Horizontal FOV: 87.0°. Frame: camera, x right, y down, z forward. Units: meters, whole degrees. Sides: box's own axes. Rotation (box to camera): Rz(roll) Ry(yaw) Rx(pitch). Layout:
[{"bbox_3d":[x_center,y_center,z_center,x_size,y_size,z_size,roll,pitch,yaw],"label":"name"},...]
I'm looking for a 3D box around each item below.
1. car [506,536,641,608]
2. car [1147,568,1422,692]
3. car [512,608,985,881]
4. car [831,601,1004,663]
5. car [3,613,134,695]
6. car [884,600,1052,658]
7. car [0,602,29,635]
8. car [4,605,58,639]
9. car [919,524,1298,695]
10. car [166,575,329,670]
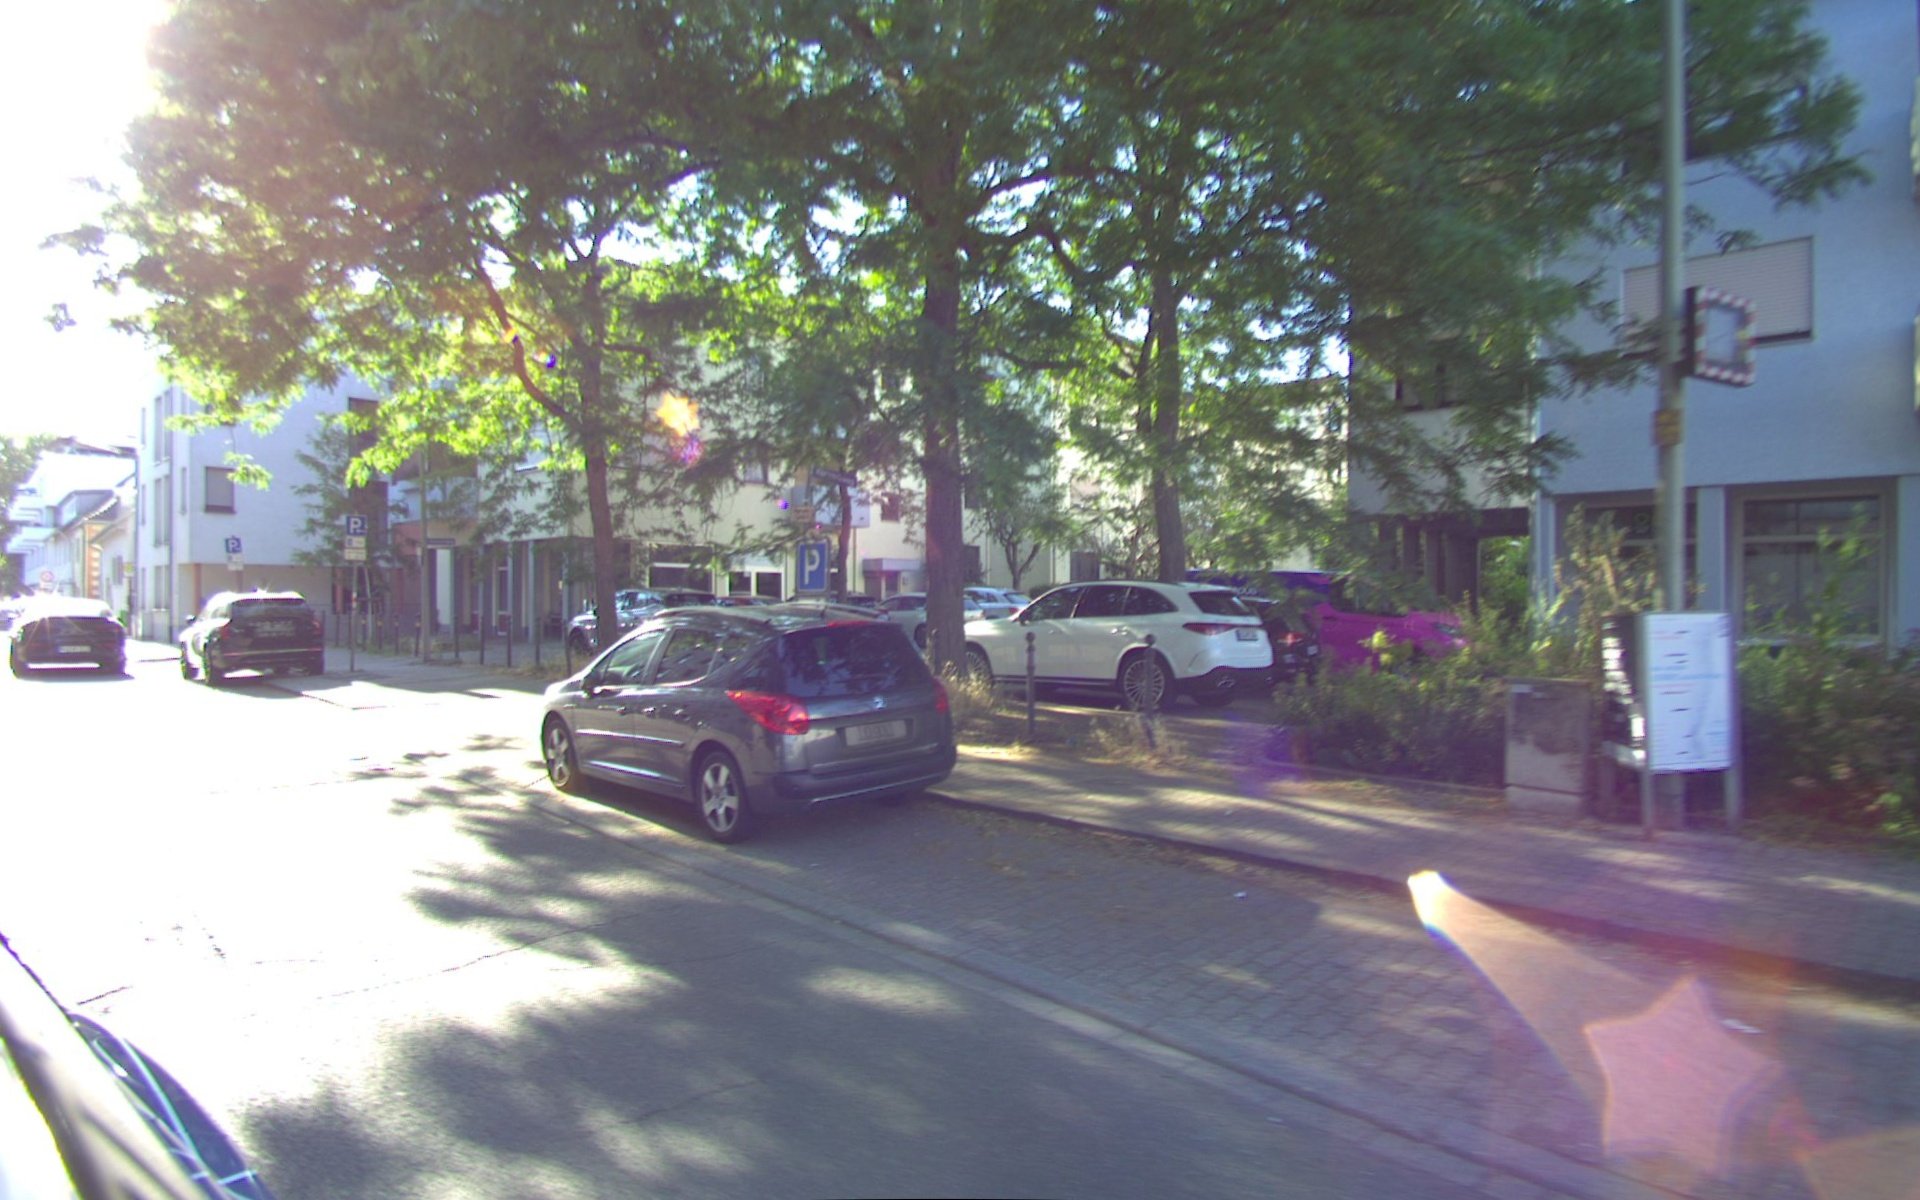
[{"bbox_3d":[-8.407,-0.554,21.881,1.502,1.419,3.643,0,0,-42],"label":"car"},{"bbox_3d":[5.739,0.482,18.094,4.314,1.963,2.000,0,0,35],"label":"car"},{"bbox_3d":[-1.826,0.839,7.793,1.677,1.503,4.003,-1,1,-44],"label":"car"},{"bbox_3d":[-1.267,0.824,28.196,4.832,1.486,1.972,0,2,43],"label":"car"},{"bbox_3d":[-19.964,1.119,22.610,4.321,1.588,1.917,0,0,45],"label":"car"},{"bbox_3d":[0.149,0.819,30.171,1.916,1.572,5.190,0,-1,-44],"label":"car"},{"bbox_3d":[-43.956,0.830,46.240,4.000,1.477,1.787,0,0,43],"label":"car"},{"bbox_3d":[-54.340,1.257,59.183,4.002,1.639,1.972,0,7,44],"label":"car"},{"bbox_3d":[1.814,0.128,13.668,4.906,1.909,1.823,-1,0,43],"label":"car"},{"bbox_3d":[-14.991,0.397,21.164,1.910,1.717,5.104,-3,2,-45],"label":"car"}]
